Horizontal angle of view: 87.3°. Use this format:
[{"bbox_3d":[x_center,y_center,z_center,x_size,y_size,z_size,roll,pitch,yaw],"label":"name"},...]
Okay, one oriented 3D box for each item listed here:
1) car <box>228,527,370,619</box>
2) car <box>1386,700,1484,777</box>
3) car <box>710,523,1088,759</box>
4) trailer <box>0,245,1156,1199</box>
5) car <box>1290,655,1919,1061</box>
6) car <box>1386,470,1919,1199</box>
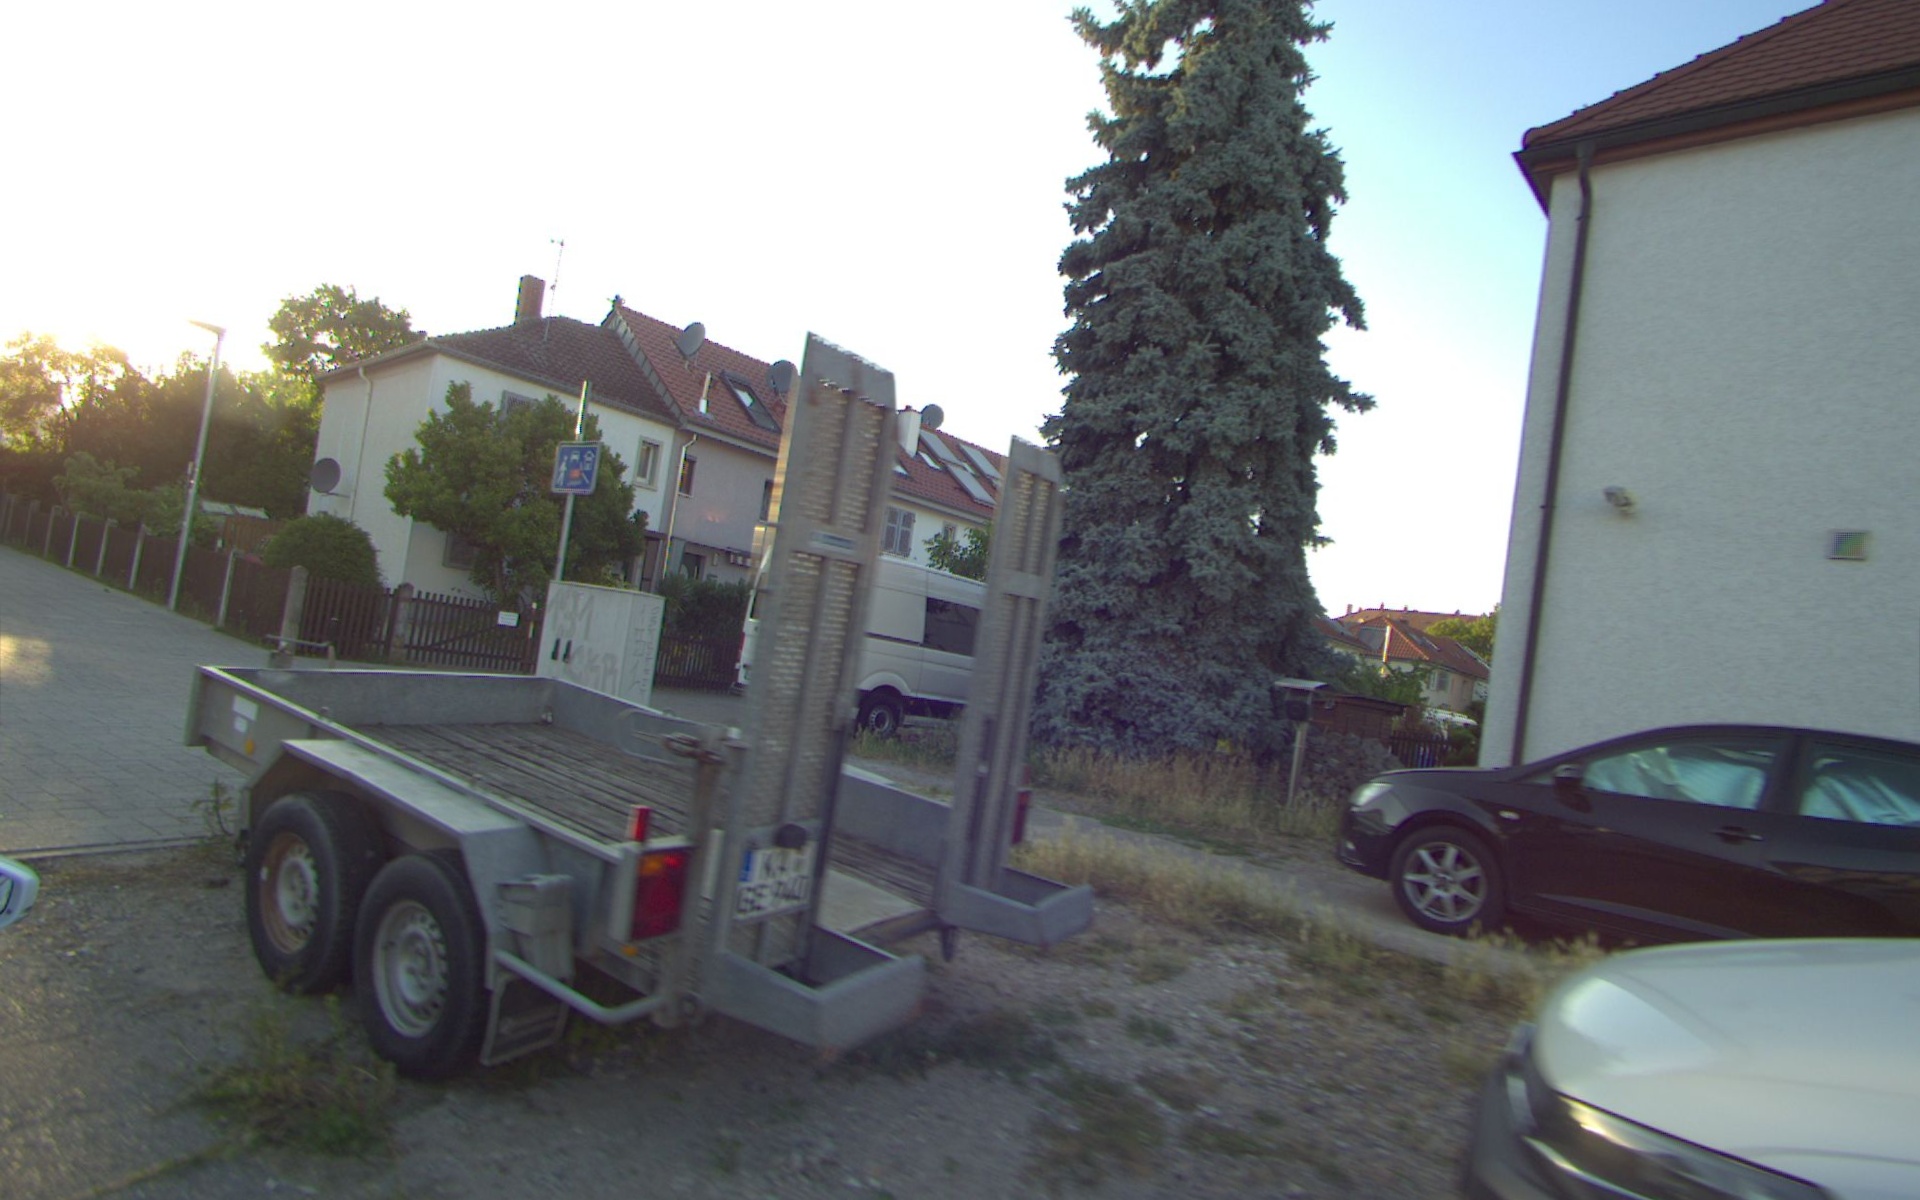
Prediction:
[{"bbox_3d":[-13.786,-0.591,20.913,3.591,1.460,1.527,7,-2,43],"label":"car"},{"bbox_3d":[16.235,4.764,34.274,1.818,2.198,4.455,4,-5,40],"label":"car"},{"bbox_3d":[-0.686,0.773,15.425,2.026,2.722,5.559,9,-2,44],"label":"car"},{"bbox_3d":[-2.061,0.164,4.458,5.136,2.237,2.069,7,-2,32],"label":"trailer"},{"bbox_3d":[4.094,1.303,5.621,3.850,1.535,1.635,4,-4,41],"label":"car"},{"bbox_3d":[3.017,1.017,1.223,4.337,1.852,1.774,7,-2,34],"label":"car"}]
